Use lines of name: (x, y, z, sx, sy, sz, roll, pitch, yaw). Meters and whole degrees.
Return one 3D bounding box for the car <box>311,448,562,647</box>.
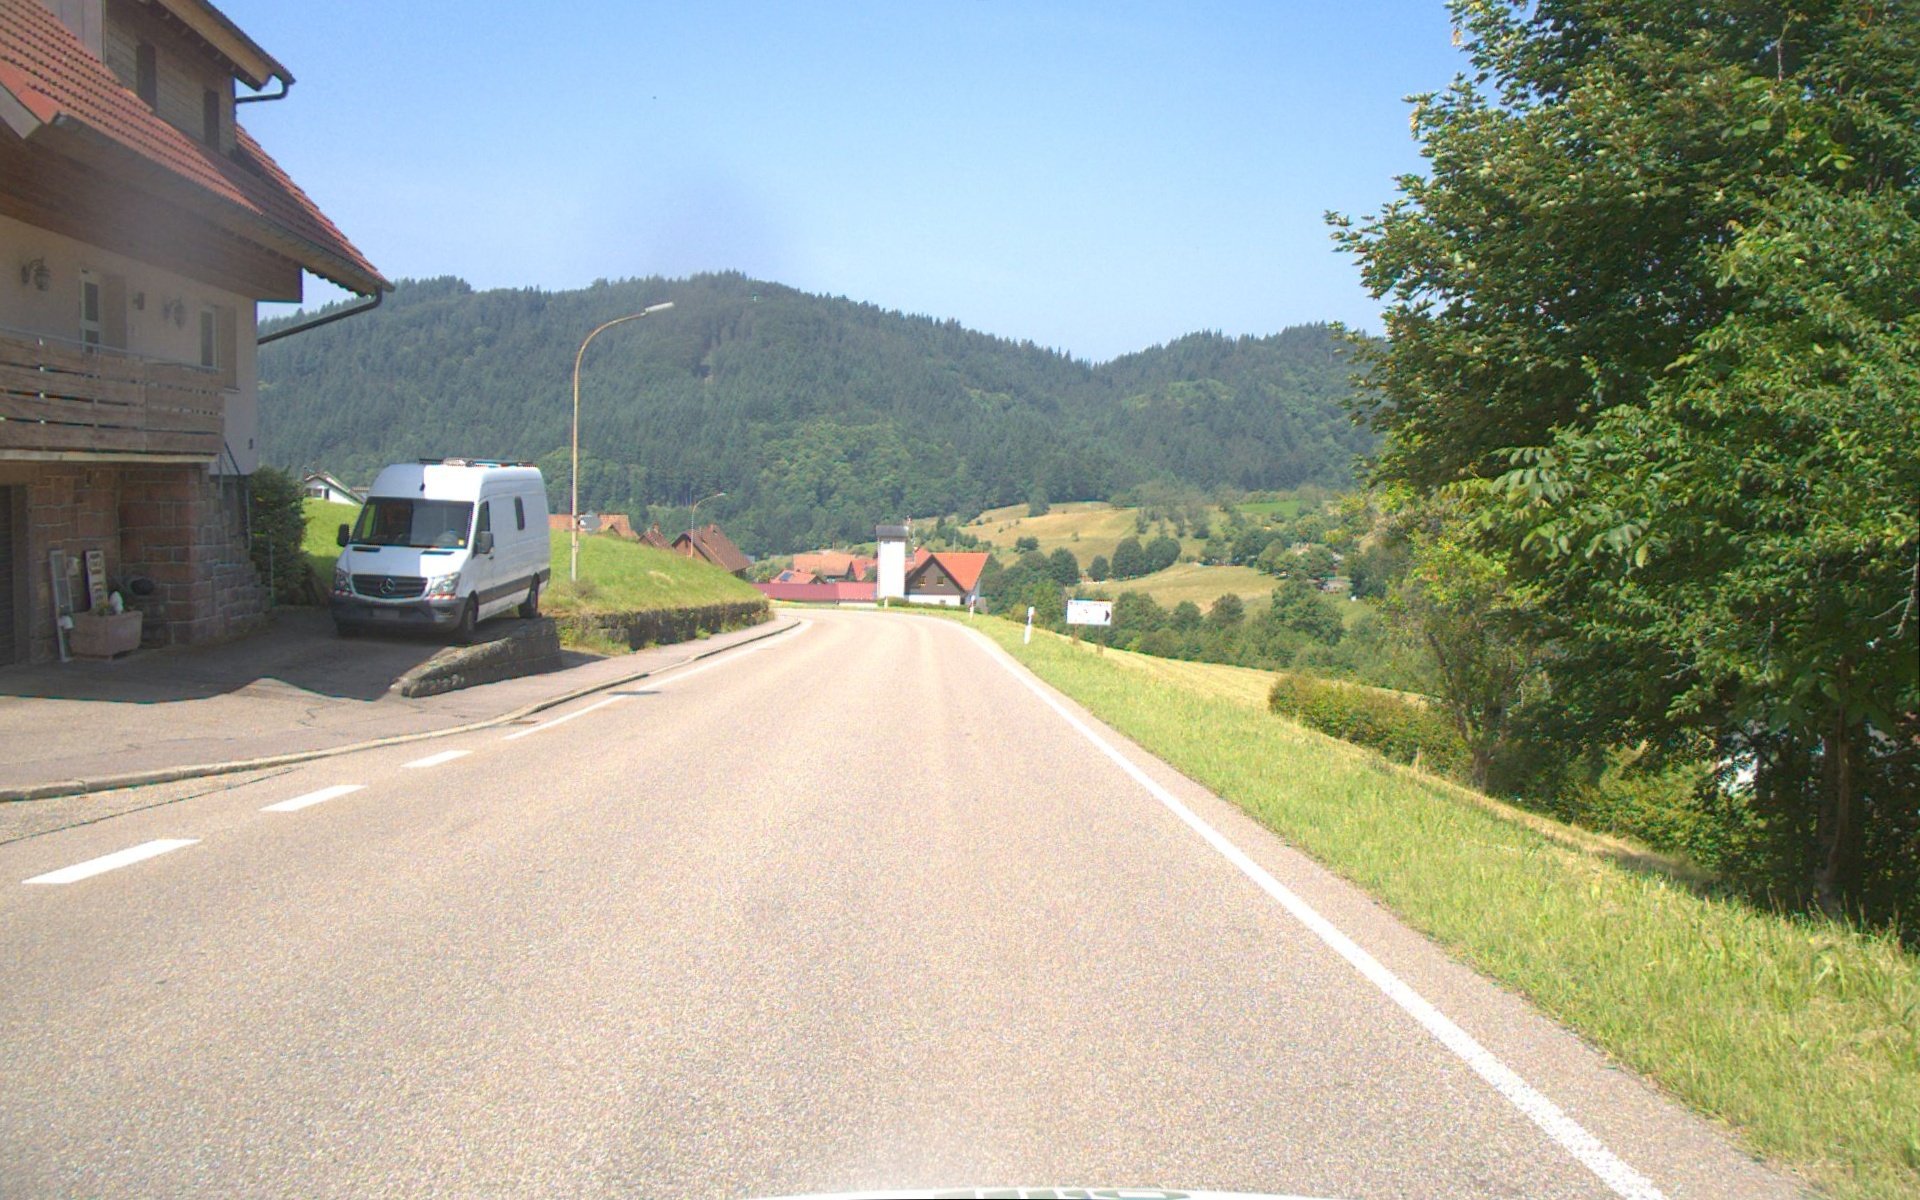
car: (-8.257, -0.962, 26.933, 2.026, 2.734, 7.173, 2, 3, -2)
